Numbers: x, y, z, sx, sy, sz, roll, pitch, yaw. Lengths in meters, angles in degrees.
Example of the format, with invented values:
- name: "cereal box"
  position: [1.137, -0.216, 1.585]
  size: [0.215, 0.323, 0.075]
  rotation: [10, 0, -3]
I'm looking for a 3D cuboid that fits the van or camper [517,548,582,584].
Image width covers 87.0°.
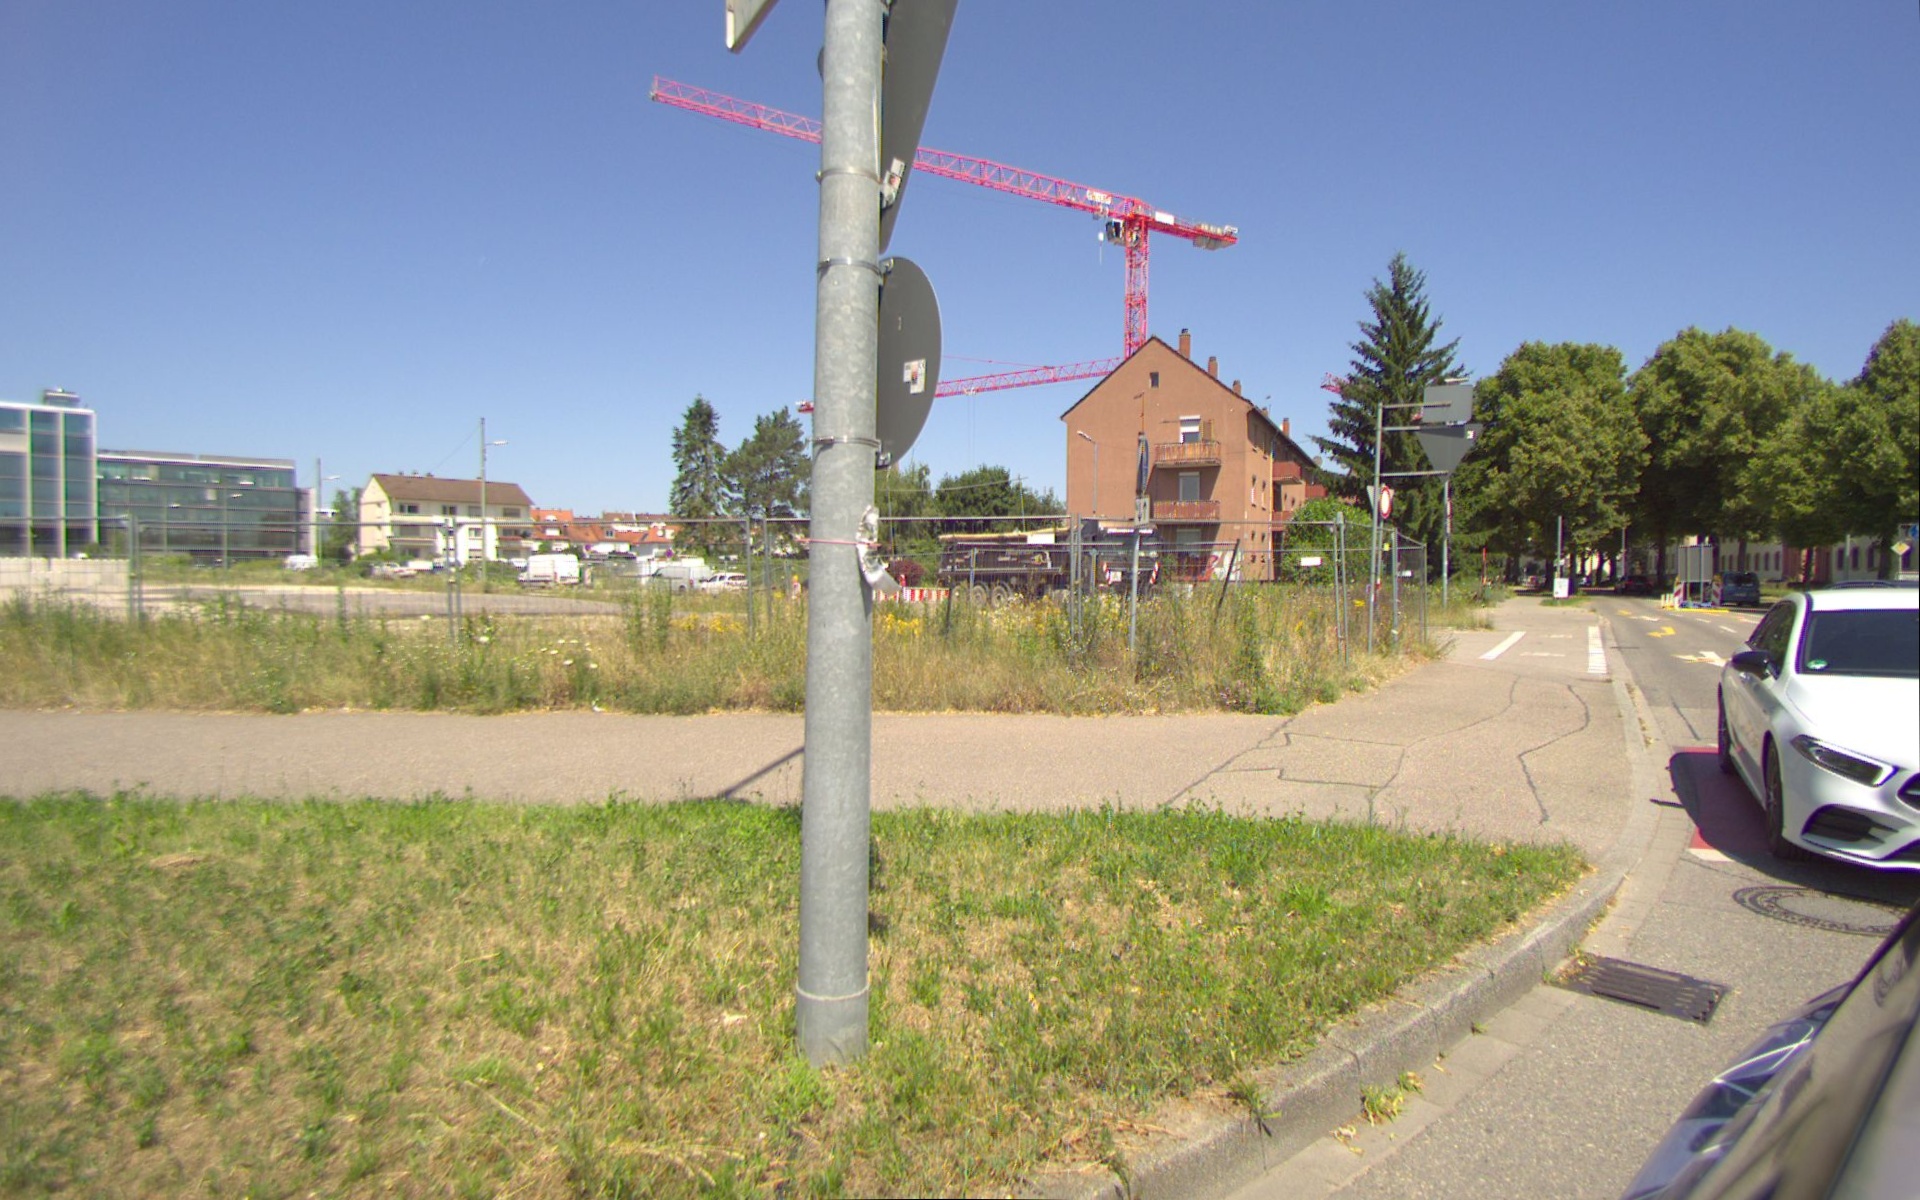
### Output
- name: "van or camper"
  position: [-31.169, -2.589, 76.639]
  size: [6.980, 2.634, 1.900]
  rotation: [2, 2, 44]

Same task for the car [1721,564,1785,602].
- name: "car"
  position: [39.409, -0.892, 50.392]
  size: [1.673, 1.791, 4.167]
  rotation: [0, 2, 27]

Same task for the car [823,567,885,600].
- name: "car"
  position: [-5.498, -0.855, 52.252]
  size: [1.348, 1.633, 3.410]
  rotation: [-1, 2, -44]

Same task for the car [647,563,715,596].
- name: "car"
  position: [-17.712, -1.337, 64.109]
  size: [4.657, 2.038, 1.761]
  rotation: [2, 2, 38]

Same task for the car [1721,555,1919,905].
- name: "car"
  position: [5.736, 0.534, 5.902]
  size: [1.768, 1.565, 3.917]
  rotation: [-1, 0, 33]

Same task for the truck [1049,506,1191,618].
- name: "truck"
  position: [5.417, -1.303, 35.160]
  size: [3.098, 3.576, 4.976]
  rotation: [0, 2, -15]

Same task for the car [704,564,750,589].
- name: "car"
  position: [-13.980, -1.432, 60.585]
  size: [1.396, 1.422, 2.783]
  rotation: [-4, 4, -45]

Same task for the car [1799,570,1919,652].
- name: "car"
  position: [18.519, 0.181, 19.197]
  size: [1.771, 1.469, 4.610]
  rotation: [-1, 1, 7]

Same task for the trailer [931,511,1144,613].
- name: "trailer"
  position: [2.783, -1.465, 39.882]
  size: [3.108, 3.576, 8.985]
  rotation: [-1, 2, -39]

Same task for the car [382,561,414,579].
- name: "car"
  position: [-54.489, -2.915, 98.095]
  size: [3.608, 1.605, 1.655]
  rotation: [0, 2, 42]

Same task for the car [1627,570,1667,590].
- name: "car"
  position: [48.806, -1.443, 71.950]
  size: [1.625, 1.399, 3.860]
  rotation: [1, 2, 23]
